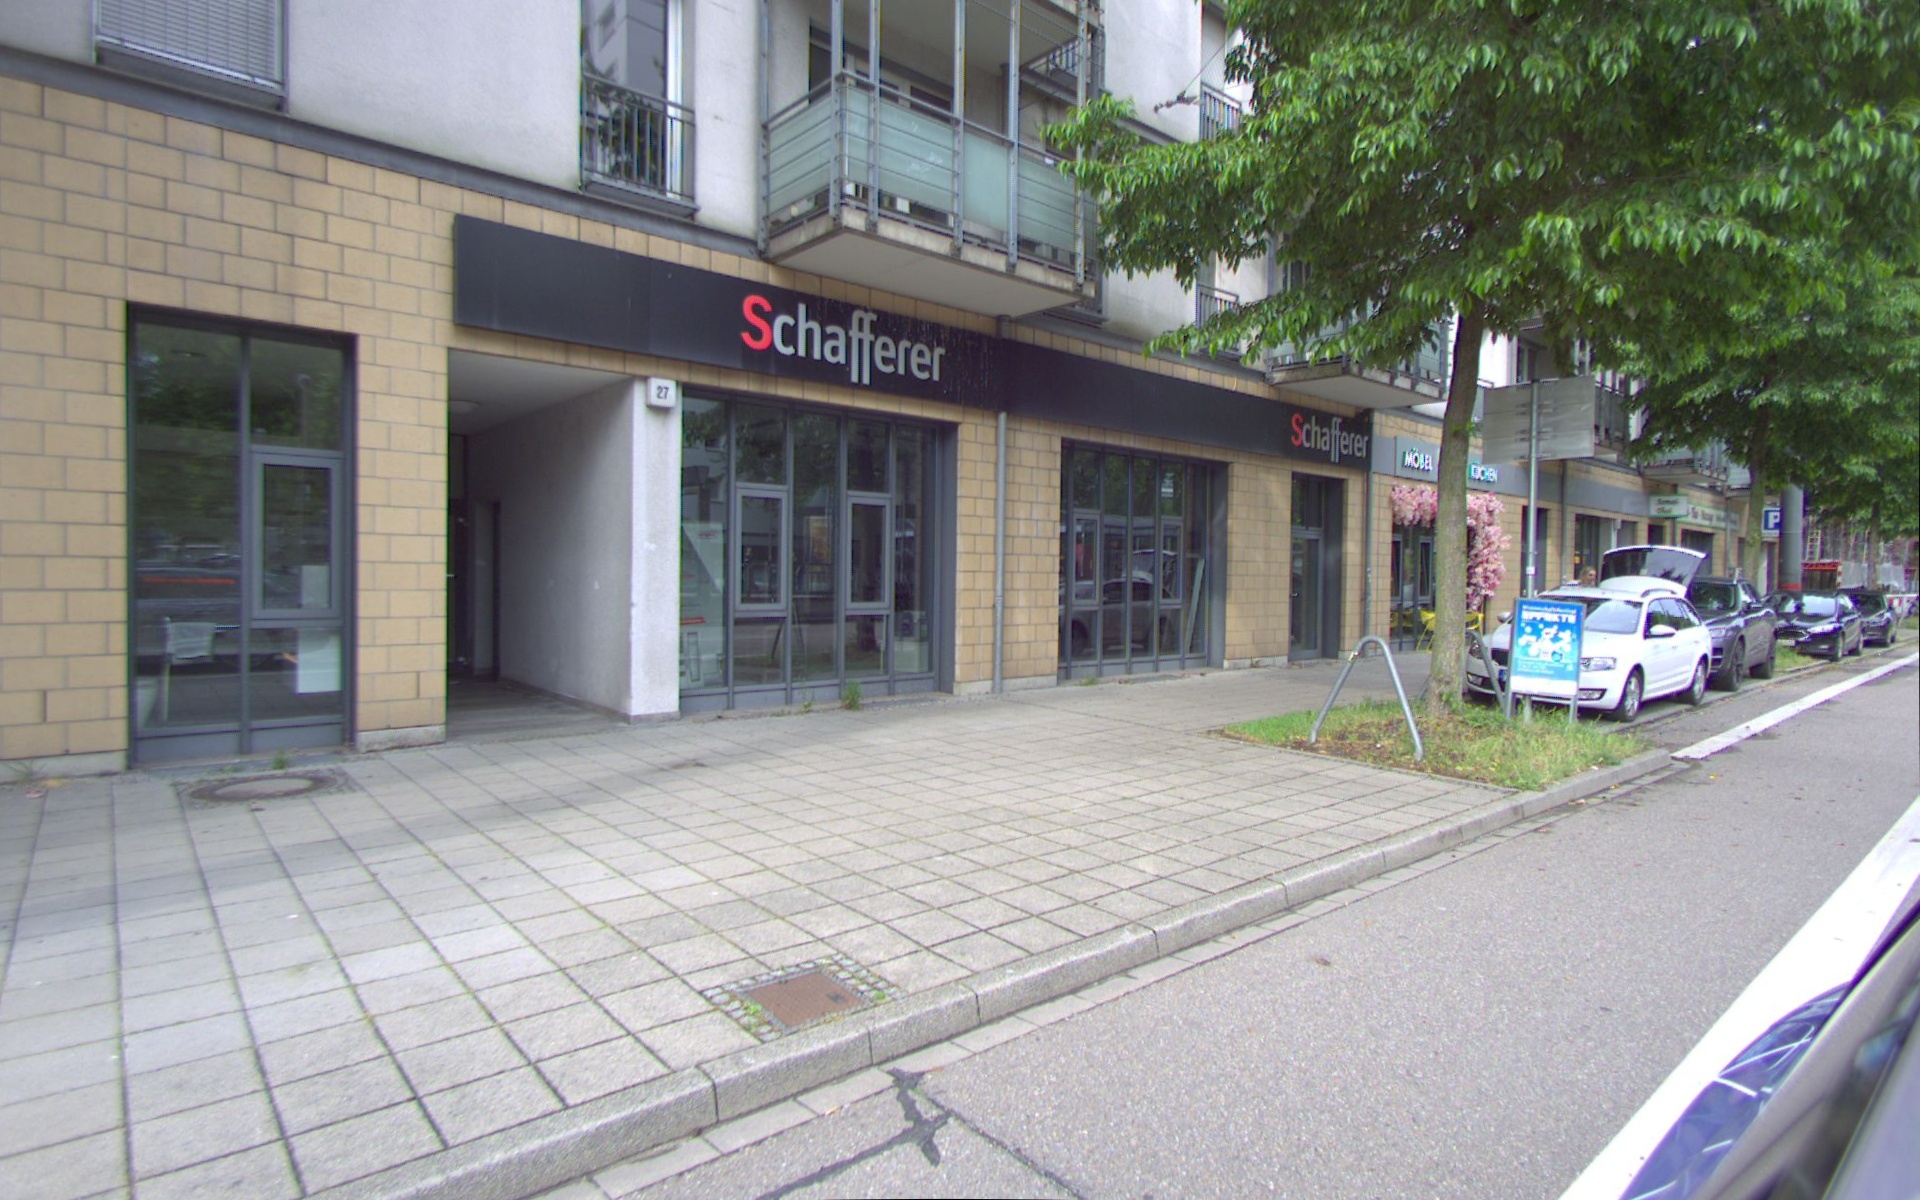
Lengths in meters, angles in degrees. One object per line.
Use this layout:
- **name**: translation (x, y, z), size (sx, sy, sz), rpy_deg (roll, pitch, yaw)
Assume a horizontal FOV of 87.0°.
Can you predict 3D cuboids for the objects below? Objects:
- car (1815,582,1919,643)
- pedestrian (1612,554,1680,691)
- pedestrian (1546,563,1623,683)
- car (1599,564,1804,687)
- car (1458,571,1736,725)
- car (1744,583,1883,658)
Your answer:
- **car**: translation (24.156, 0.284, 26.865), size (3.603, 1.417, 1.612), rpy_deg (-1, 5, -41)
- **pedestrian**: translation (9.844, 0.301, 14.532), size (0.588, 1.907, 0.656), rpy_deg (0, 1, -40)
- **pedestrian**: translation (9.368, 0.320, 15.194), size (0.606, 1.738, 0.739), rpy_deg (0, 2, -34)
- **car**: translation (11.794, 0.316, 16.024), size (3.732, 1.630, 1.738), rpy_deg (-1, 5, -41)
- **car**: translation (8.122, 0.472, 12.751), size (4.233, 1.539, 1.738), rpy_deg (-1, 5, -41)
- **car**: translation (18.635, 0.383, 22.040), size (4.095, 1.394, 1.612), rpy_deg (-1, 5, -41)
